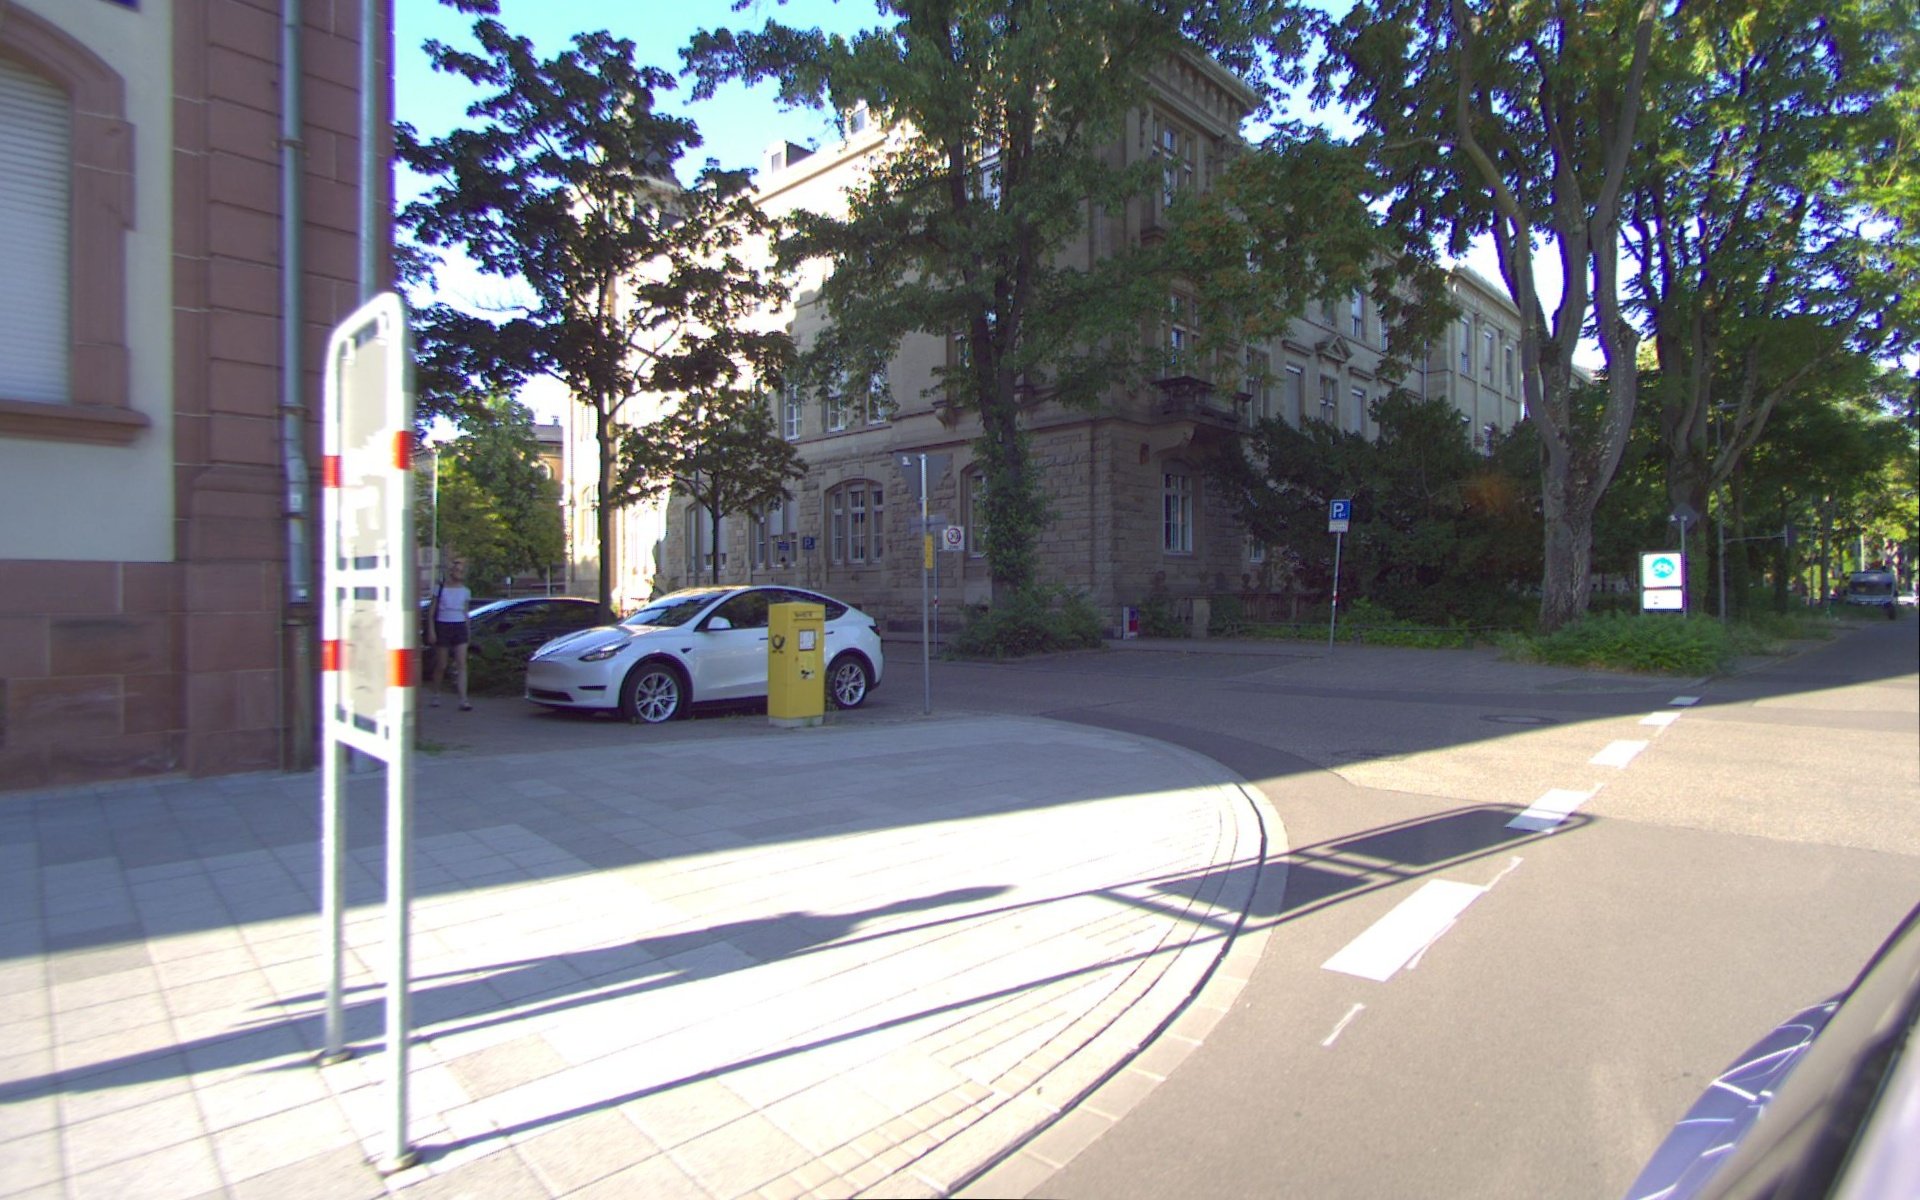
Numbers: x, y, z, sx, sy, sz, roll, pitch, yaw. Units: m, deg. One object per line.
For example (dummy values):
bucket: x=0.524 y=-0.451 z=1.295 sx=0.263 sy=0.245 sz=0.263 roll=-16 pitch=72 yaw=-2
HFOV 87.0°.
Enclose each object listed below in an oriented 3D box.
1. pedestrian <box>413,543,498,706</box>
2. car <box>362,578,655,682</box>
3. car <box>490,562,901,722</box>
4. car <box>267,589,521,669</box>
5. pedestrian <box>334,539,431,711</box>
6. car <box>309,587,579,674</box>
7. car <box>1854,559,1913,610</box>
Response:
pedestrian: x=-5.993 y=0.288 z=12.018 sx=0.714 sy=1.864 sz=0.611 roll=2 pitch=-2 yaw=-43
car: x=-7.898 y=0.547 z=18.031 sx=1.958 sy=1.605 sz=4.326 roll=0 pitch=-2 yaw=41
car: x=-3.060 y=0.490 z=12.601 sx=1.958 sy=1.610 sz=4.650 roll=0 pitch=-2 yaw=41
car: x=-11.980 y=0.595 z=21.643 sx=1.958 sy=1.515 sz=4.327 roll=0 pitch=-1 yaw=41
pedestrian: x=-6.560 y=0.275 z=11.498 sx=0.777 sy=1.864 sz=0.715 roll=2 pitch=-2 yaw=-43
car: x=-10.021 y=0.564 z=19.914 sx=1.958 sy=1.515 sz=4.327 roll=0 pitch=-1 yaw=41
car: x=49.994 y=-0.814 z=54.754 sx=4.095 sy=2.632 sz=1.949 roll=-1 pitch=0 yaw=-42
